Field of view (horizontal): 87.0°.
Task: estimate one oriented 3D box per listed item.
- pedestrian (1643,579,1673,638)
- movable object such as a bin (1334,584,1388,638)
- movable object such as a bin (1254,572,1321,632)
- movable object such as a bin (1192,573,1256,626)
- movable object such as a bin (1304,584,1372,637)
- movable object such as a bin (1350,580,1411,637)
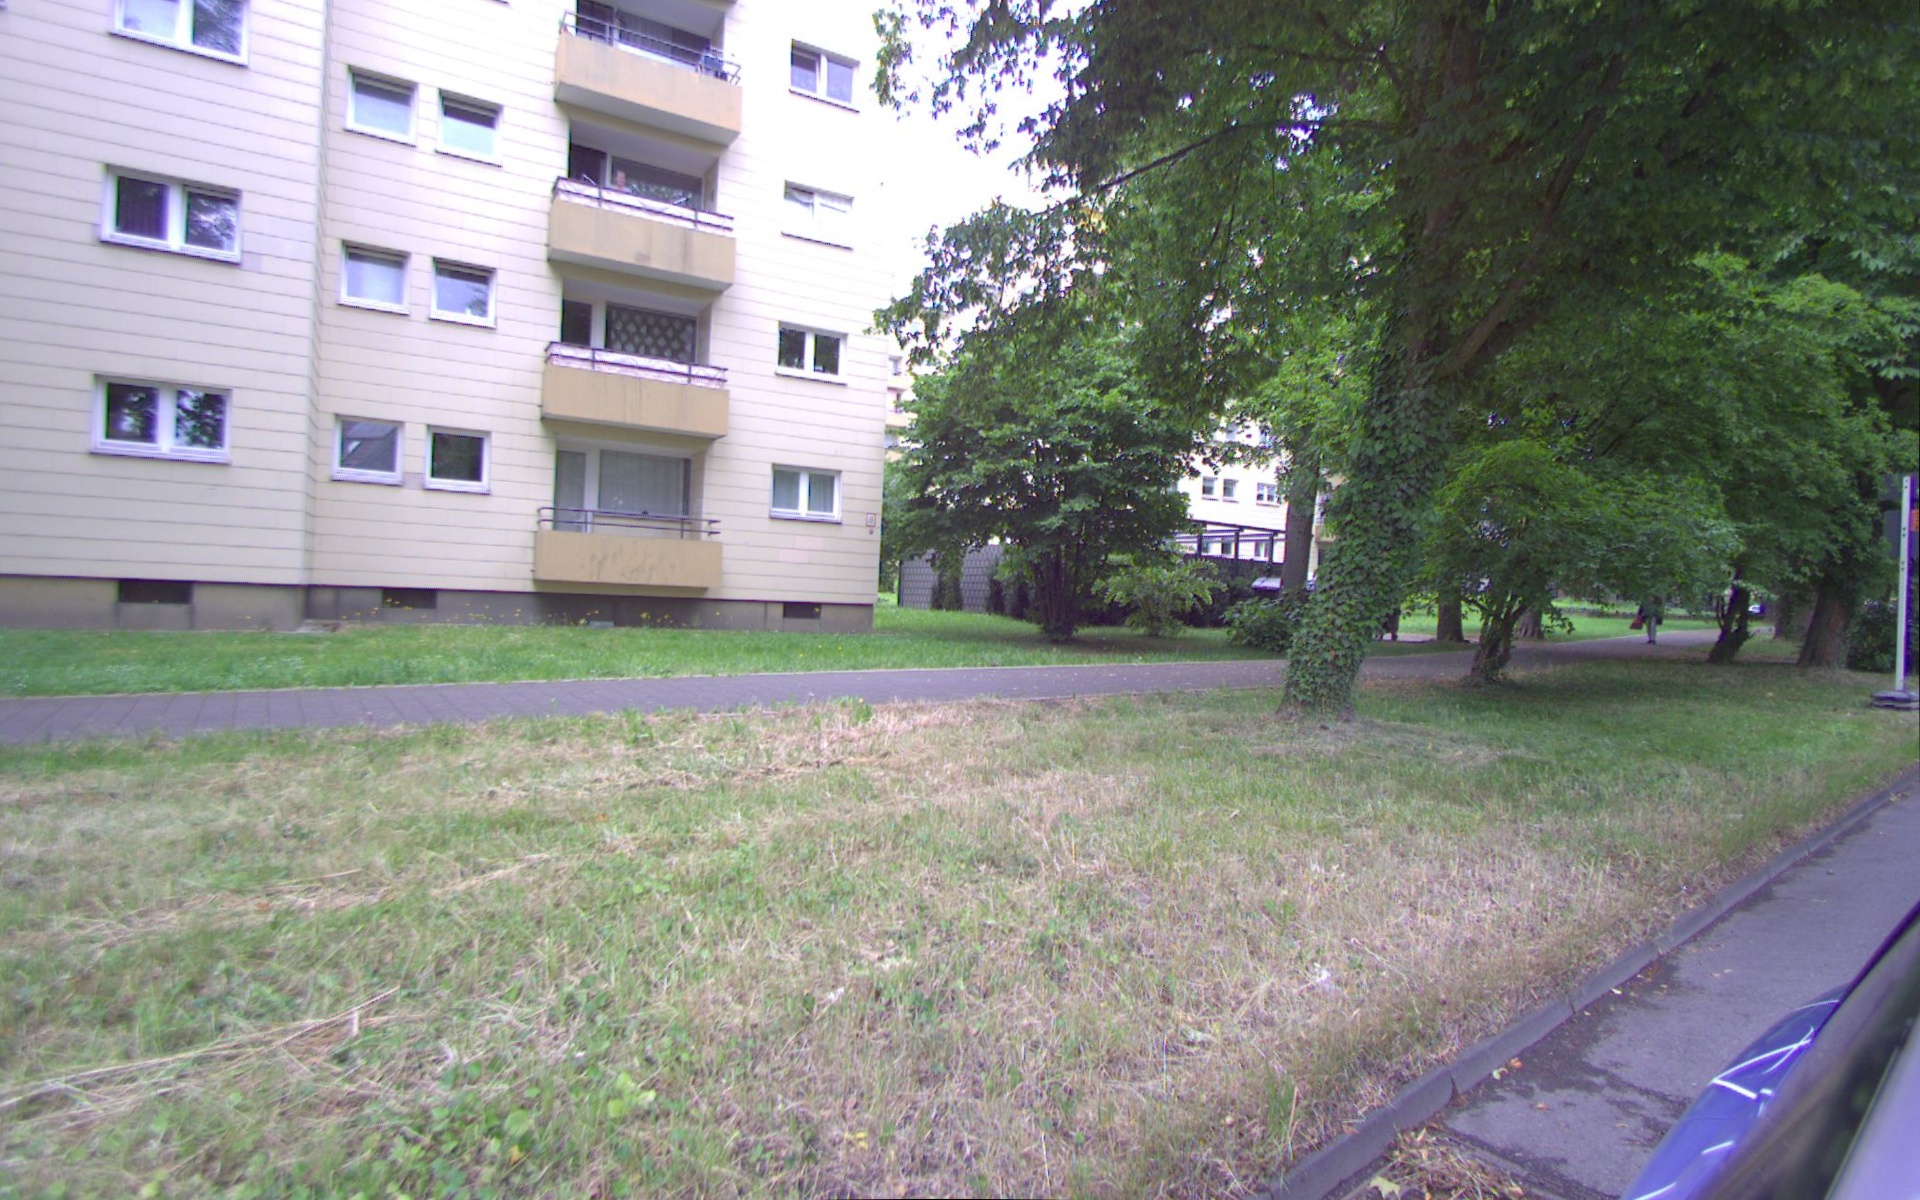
[{"bbox_3d":[21.510,0.247,31.175,0.560,1.761,0.565,1,2,-41],"label":"pedestrian"},{"bbox_3d":[10.403,0.274,26.240,1.022,1.320,0.946,3,2,41],"label":"movable object such as a bin"},{"bbox_3d":[8.526,0.036,26.337,1.190,1.475,1.329,3,2,41],"label":"movable object such as a bin"},{"bbox_3d":[7.263,-0.023,27.808,1.190,1.358,1.329,3,2,41],"label":"movable object such as a bin"},{"bbox_3d":[9.516,0.252,25.465,1.190,1.236,1.329,3,2,41],"label":"movable object such as a bin"},{"bbox_3d":[11.204,0.215,26.959,1.190,1.431,1.094,3,2,41],"label":"movable object such as a bin"}]
